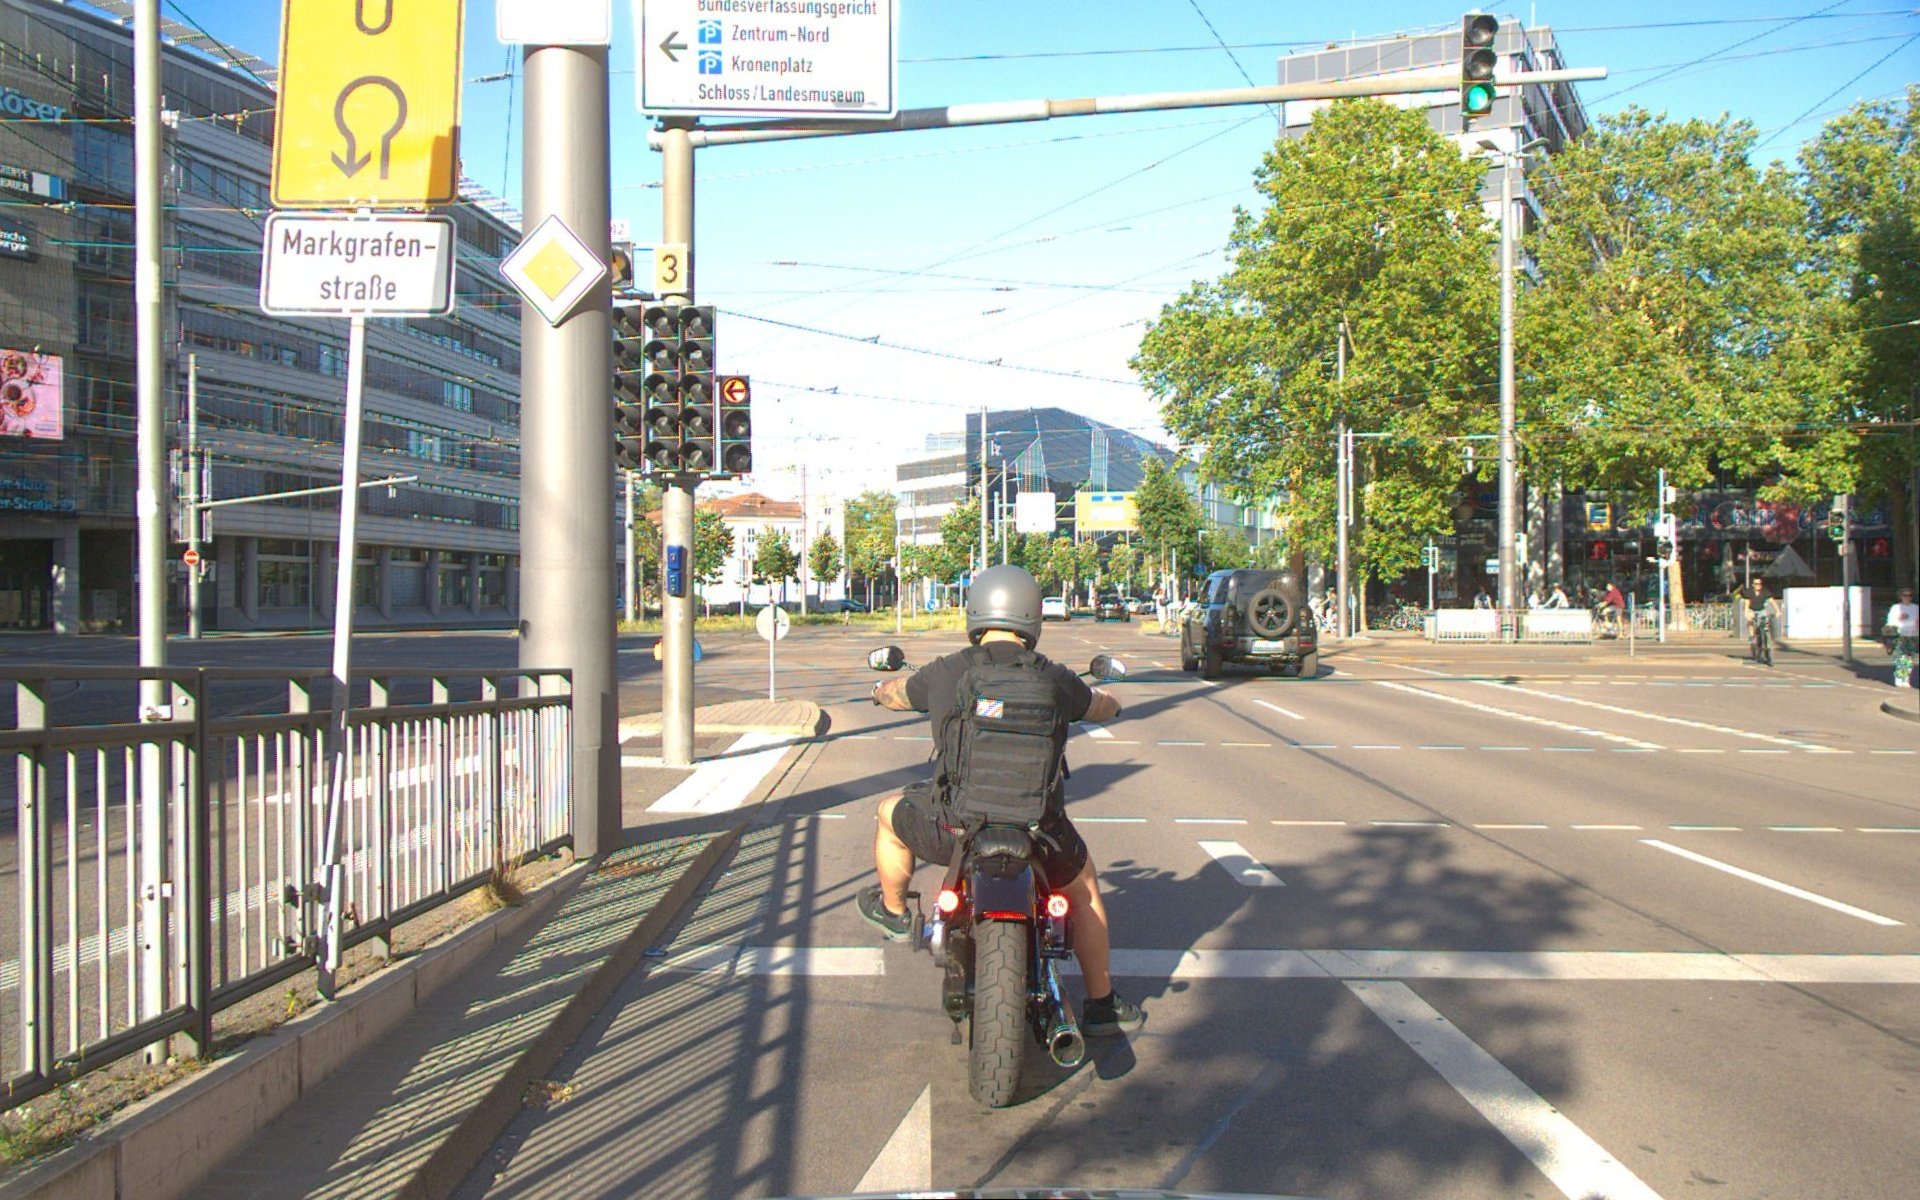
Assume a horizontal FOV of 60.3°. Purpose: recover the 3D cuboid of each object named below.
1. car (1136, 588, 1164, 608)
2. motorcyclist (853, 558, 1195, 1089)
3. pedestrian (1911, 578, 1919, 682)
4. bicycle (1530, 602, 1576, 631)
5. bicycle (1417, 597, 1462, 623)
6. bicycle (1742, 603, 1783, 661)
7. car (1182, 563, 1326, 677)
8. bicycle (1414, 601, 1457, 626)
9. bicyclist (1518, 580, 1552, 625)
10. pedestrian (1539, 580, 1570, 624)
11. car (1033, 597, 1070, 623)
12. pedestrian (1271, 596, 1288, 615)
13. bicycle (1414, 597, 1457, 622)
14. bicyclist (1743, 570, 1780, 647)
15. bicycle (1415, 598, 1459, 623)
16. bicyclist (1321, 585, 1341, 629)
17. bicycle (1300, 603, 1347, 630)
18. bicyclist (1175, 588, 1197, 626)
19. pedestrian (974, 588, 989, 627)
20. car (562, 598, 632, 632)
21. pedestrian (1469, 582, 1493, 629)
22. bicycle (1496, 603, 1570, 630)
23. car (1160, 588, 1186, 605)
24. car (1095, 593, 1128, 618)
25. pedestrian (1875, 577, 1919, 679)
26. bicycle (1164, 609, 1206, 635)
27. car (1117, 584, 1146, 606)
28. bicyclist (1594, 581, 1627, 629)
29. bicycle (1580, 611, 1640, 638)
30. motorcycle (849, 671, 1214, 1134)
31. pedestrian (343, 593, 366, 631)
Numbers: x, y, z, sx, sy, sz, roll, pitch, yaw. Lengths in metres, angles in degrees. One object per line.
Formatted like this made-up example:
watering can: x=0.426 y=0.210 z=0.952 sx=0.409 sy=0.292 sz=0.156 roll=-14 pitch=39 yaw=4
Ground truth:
car: x=17.030 y=-0.188 z=148.091 sx=1.684 sy=1.686 sz=3.755 roll=0 pitch=0 yaw=19
motorcyclist: x=0.184 y=0.669 z=5.605 sx=1.001 sy=1.579 sz=1.286 roll=1 pitch=0 yaw=-1
pedestrian: x=16.665 y=0.518 z=28.278 sx=0.592 sy=1.757 sz=0.599 roll=0 pitch=-1 yaw=39
bicycle: x=21.955 y=0.610 z=61.246 sx=1.905 sy=1.070 sz=0.780 roll=1 pitch=-1 yaw=-41
bicycle: x=19.075 y=0.392 z=65.833 sx=1.668 sy=1.003 sz=0.391 roll=0 pitch=0 yaw=13
bicycle: x=16.801 y=0.652 z=34.659 sx=0.588 sy=1.068 sz=1.882 roll=-5 pitch=0 yaw=22
car: x=5.299 y=0.346 z=30.289 sx=2.010 sy=1.906 sz=4.228 roll=1 pitch=0 yaw=2
bicycle: x=19.435 y=0.542 z=67.594 sx=1.668 sy=1.003 sz=0.391 roll=0 pitch=0 yaw=13
bicyclist: x=25.311 y=0.095 z=72.845 sx=1.201 sy=1.965 sz=0.835 roll=0 pitch=0 yaw=1
pedestrian: x=22.042 y=0.065 z=61.318 sx=0.830 sy=1.622 sz=0.761 roll=1 pitch=-1 yaw=-40
car: x=5.768 y=0.633 z=104.179 sx=1.861 sy=1.534 sz=4.003 roll=1 pitch=0 yaw=9
pedestrian: x=17.545 y=0.297 z=90.937 sx=0.768 sy=1.075 sz=0.814 roll=0 pitch=0 yaw=22
bicycle: x=19.553 y=0.388 z=68.057 sx=1.668 sy=1.003 sz=0.391 roll=0 pitch=0 yaw=13
bicyclist: x=16.815 y=0.171 z=34.699 sx=0.567 sy=1.541 sz=0.850 roll=-4 pitch=1 yaw=23
bicycle: x=19.227 y=0.430 z=66.681 sx=1.668 sy=1.003 sz=0.391 roll=0 pitch=0 yaw=13
bicyclist: x=14.646 y=0.289 z=65.332 sx=0.727 sy=1.724 sz=0.570 roll=-1 pitch=-1 yaw=10
bicycle: x=14.372 y=0.641 z=65.395 sx=1.813 sy=1.039 sz=0.517 roll=-1 pitch=-1 yaw=11
bicyclist: x=9.185 y=0.270 z=67.253 sx=0.727 sy=1.529 sz=0.570 roll=-1 pitch=-1 yaw=23
pedestrian: x=0.907 y=0.315 z=69.512 sx=0.643 sy=1.610 sz=0.489 roll=0 pitch=0 yaw=3
car: x=-17.165 y=0.679 z=78.368 sx=1.753 sy=1.491 sz=4.315 roll=-1 pitch=1 yaw=9
pedestrian: x=21.293 y=0.227 z=67.608 sx=0.829 sy=1.884 sz=0.810 roll=2 pitch=0 yaw=14
bicycle: x=25.236 y=0.725 z=72.861 sx=2.978 sy=1.133 sz=0.835 roll=0 pitch=0 yaw=1
car: x=20.139 y=-0.329 z=156.345 sx=1.684 sy=1.510 sz=3.755 roll=0 pitch=0 yaw=19
car: x=9.500 y=0.330 z=103.337 sx=1.802 sy=1.490 sz=4.003 roll=1 pitch=0 yaw=9
pedestrian: x=16.158 y=0.475 z=28.508 sx=0.553 sy=1.733 sz=0.655 roll=0 pitch=-1 yaw=40
bicycle: x=9.159 y=0.880 z=67.244 sx=1.594 sy=1.039 sz=0.516 roll=-1 pitch=-1 yaw=23
car: x=14.609 y=-0.412 z=140.618 sx=1.780 sy=1.849 sz=3.946 roll=0 pitch=0 yaw=16
bicyclist: x=22.358 y=0.165 z=56.883 sx=0.906 sy=1.643 sz=0.638 roll=0 pitch=0 yaw=3
bicycle: x=22.348 y=0.835 z=56.903 sx=1.814 sy=0.926 sz=0.652 roll=0 pitch=0 yaw=3
motorcycle: x=0.182 y=0.883 z=5.704 sx=0.985 sy=1.145 sz=2.323 roll=1 pitch=0 yaw=-1
pedestrian: x=-29.868 y=0.574 z=81.555 sx=0.660 sy=1.855 sz=0.886 roll=-2 pitch=-1 yaw=9
